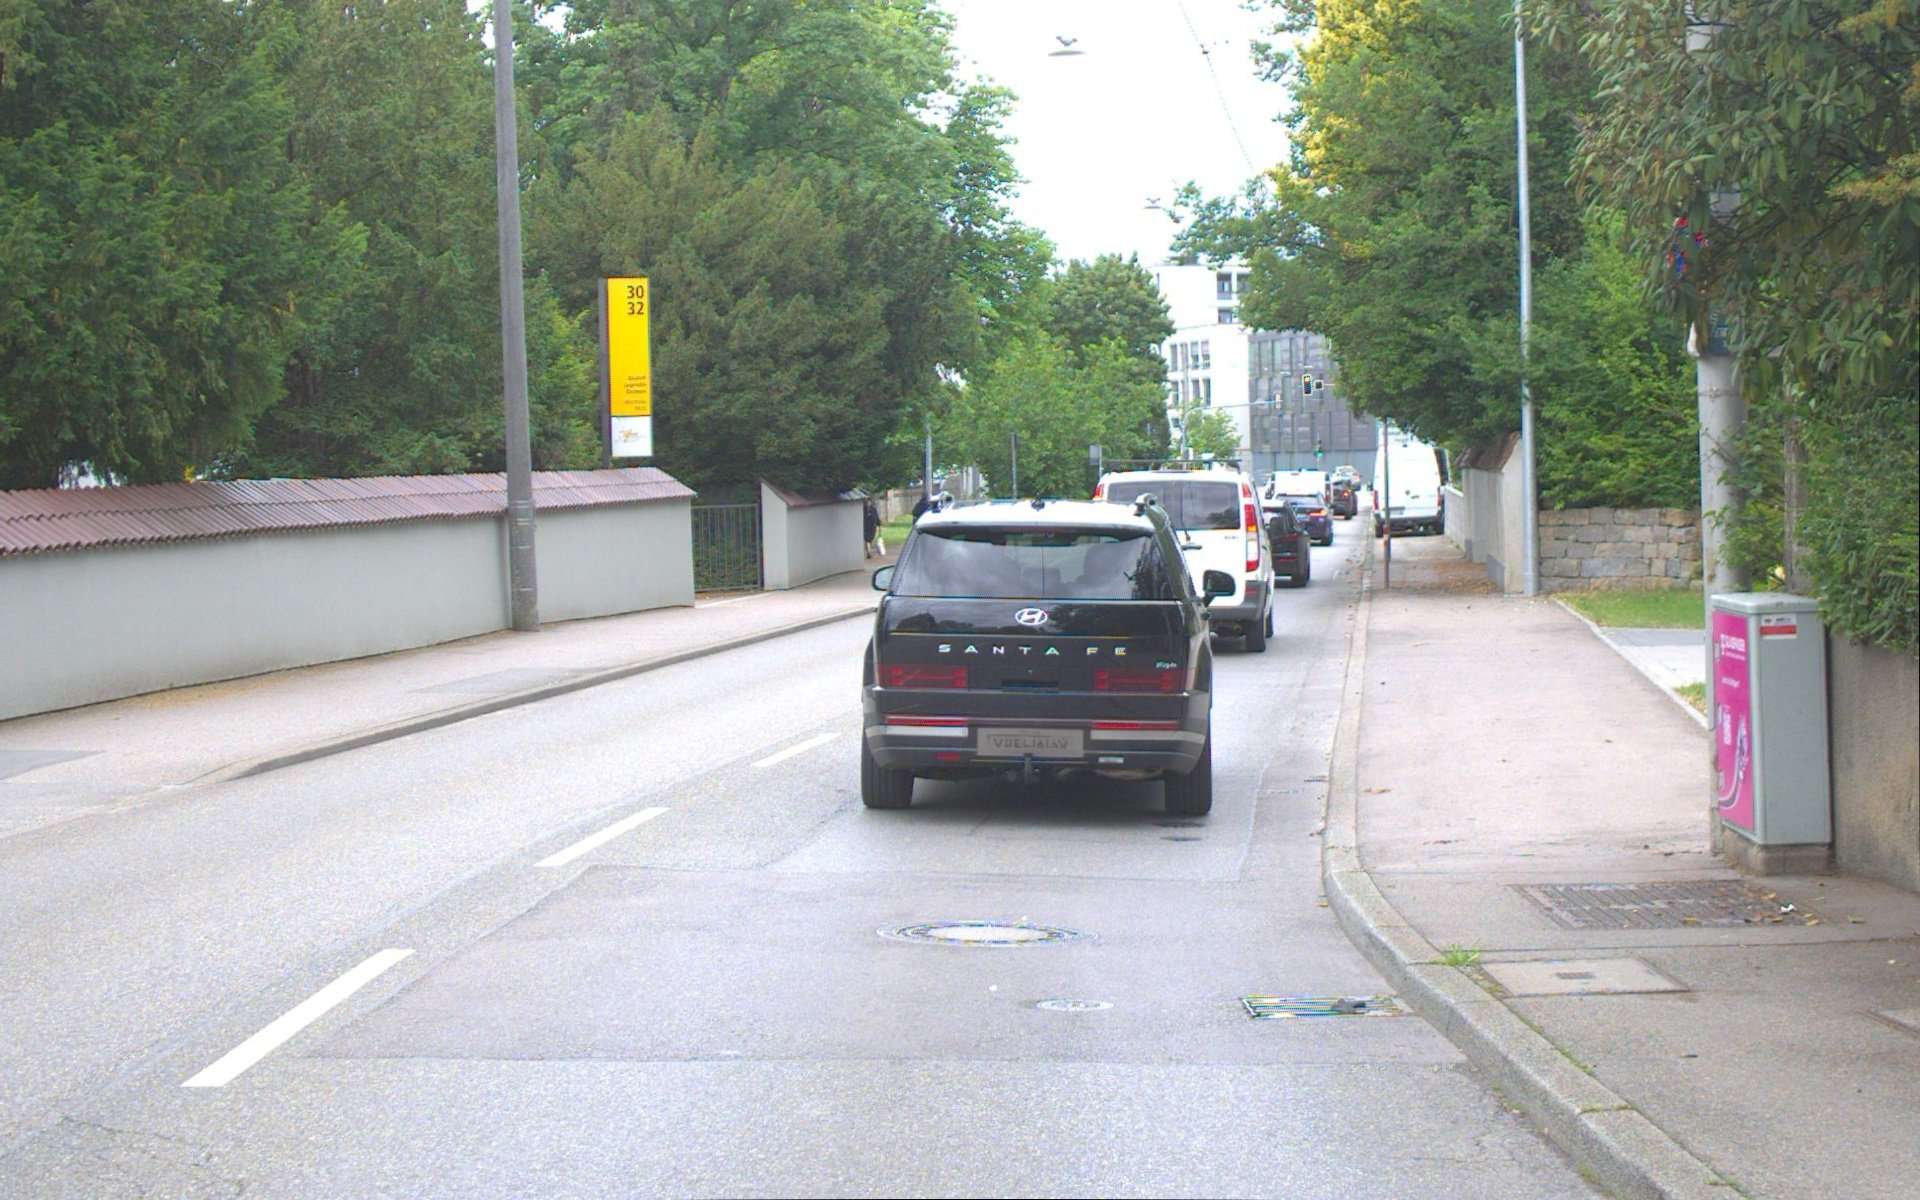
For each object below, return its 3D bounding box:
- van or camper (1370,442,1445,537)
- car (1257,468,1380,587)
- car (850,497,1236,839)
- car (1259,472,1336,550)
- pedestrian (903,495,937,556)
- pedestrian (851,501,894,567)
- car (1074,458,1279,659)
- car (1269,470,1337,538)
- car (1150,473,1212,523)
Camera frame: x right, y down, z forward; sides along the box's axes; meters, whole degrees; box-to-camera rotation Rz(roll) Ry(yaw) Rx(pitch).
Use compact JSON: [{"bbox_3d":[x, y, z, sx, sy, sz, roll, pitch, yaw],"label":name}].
[{"bbox_3d":[13.134,-3.262,101.200,1.964,2.618,6.358,-3,2,6],"label":"van or camper"},{"bbox_3d":[6.093,-1.234,58.298,1.964,1.896,3.999,-1,1,6],"label":"car"},{"bbox_3d":[0.466,0.287,19.619,1.963,1.705,4.000,0,2,1],"label":"car"},{"bbox_3d":[9.111,-2.386,92.660,1.964,1.994,3.999,-1,1,6],"label":"car"},{"bbox_3d":[-1.021,-1.928,88.777,0.749,1.572,0.966,1,2,7],"label":"pedestrian"},{"bbox_3d":[-2.127,-1.597,83.372,0.925,1.555,0.902,2,1,3],"label":"pedestrian"},{"bbox_3d":[2.378,-0.458,36.852,1.964,1.994,3.999,-1,1,6],"label":"car"},{"bbox_3d":[10.543,-2.925,105.434,1.964,1.994,3.999,-1,1,6],"label":"car"},{"bbox_3d":[6.787,-3.123,105.180,1.786,1.423,4.000,-2,2,5],"label":"car"}]
